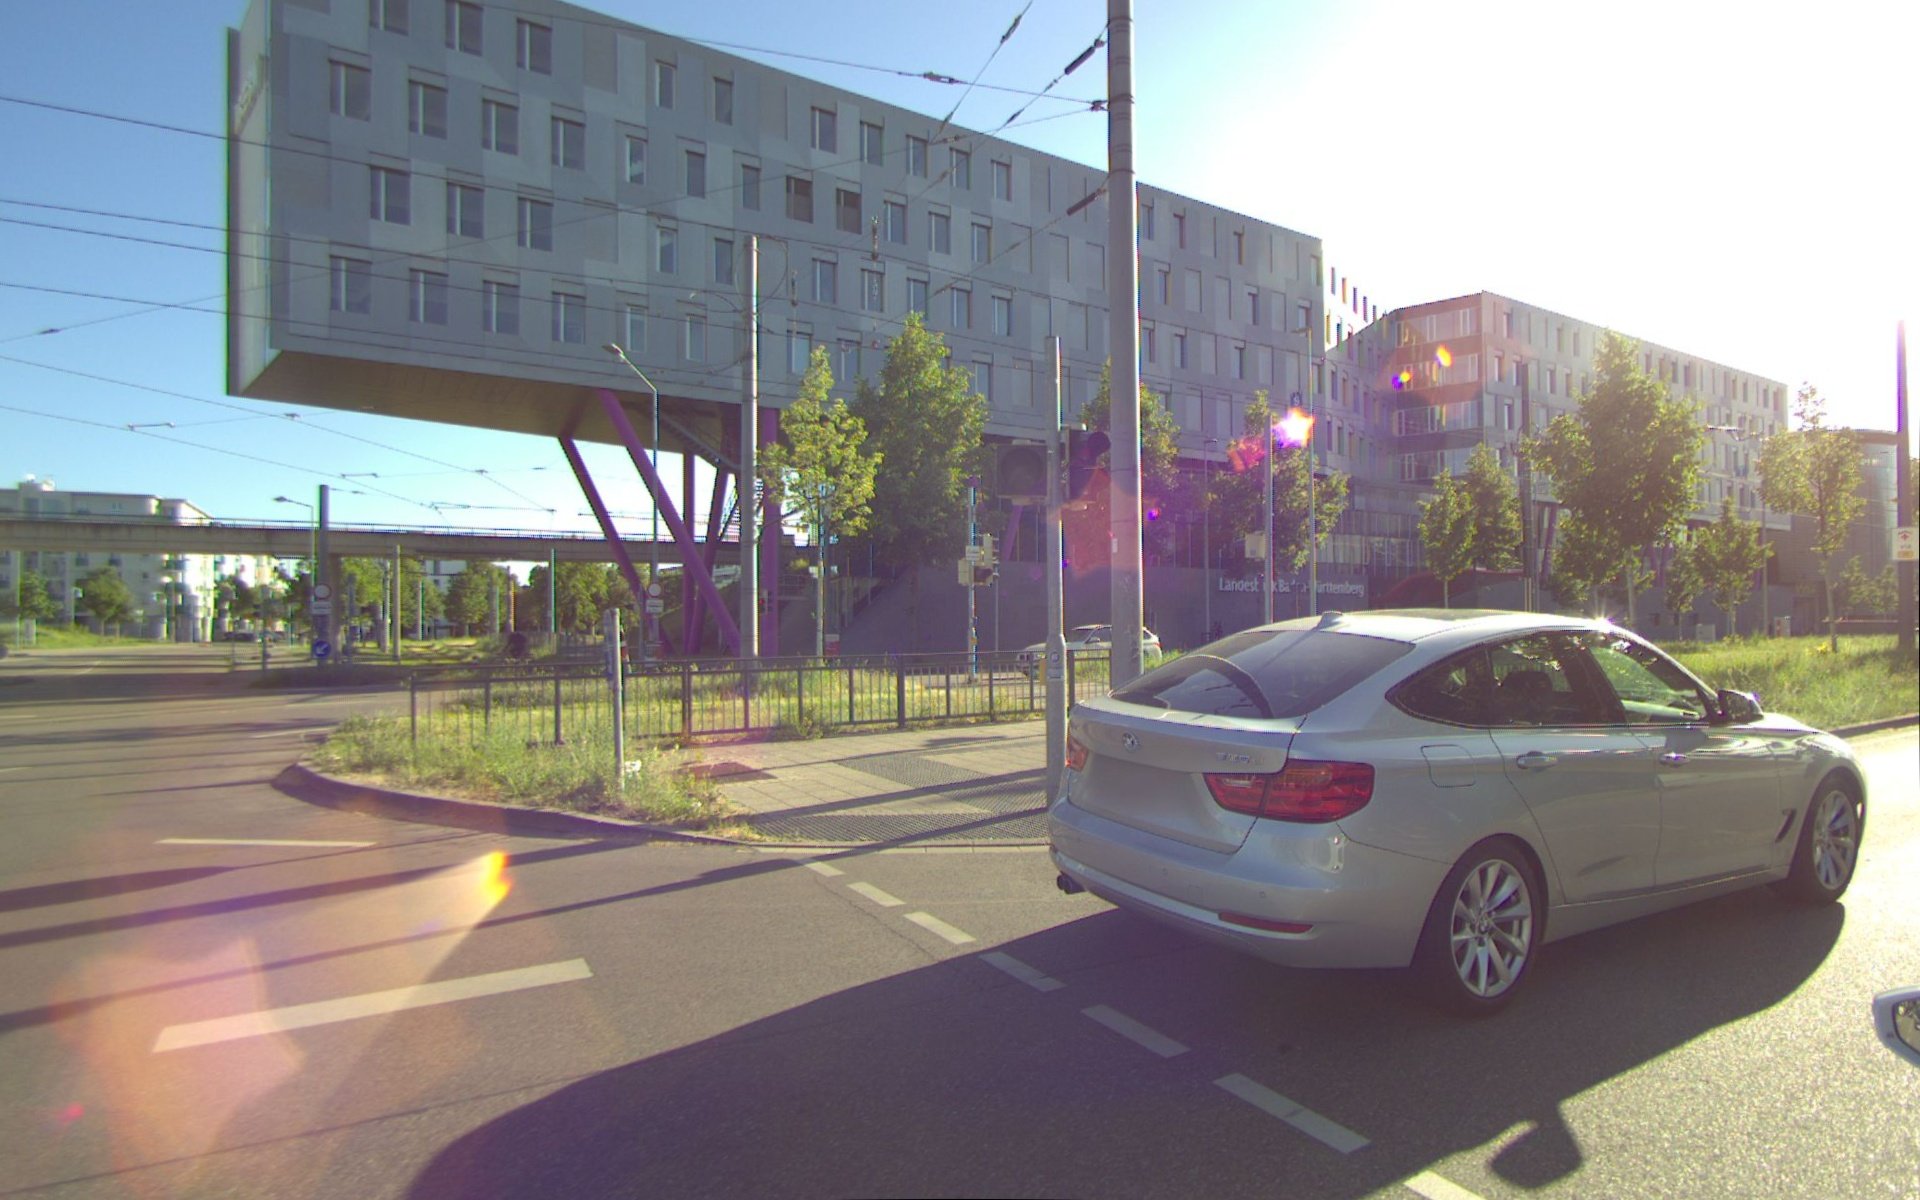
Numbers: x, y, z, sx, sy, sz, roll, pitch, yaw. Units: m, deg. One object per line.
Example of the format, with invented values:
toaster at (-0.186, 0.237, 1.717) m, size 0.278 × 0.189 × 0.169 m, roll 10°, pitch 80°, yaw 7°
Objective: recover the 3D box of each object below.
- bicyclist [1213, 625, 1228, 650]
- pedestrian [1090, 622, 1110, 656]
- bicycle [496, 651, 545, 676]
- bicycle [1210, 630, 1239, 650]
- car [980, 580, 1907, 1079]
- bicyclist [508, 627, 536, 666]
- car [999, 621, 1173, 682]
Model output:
bicyclist at (16.016, 2.275, 61.767) m, size 0.754 × 1.515 × 0.555 m, roll 0°, pitch -1°, yaw -32°
pedestrian at (7.781, 2.141, 55.796) m, size 0.861 × 1.846 × 0.717 m, roll 0°, pitch -1°, yaw -31°
bicycle at (-16.642, 2.395, 38.057) m, size 1.671 × 0.874 × 0.573 m, roll 0°, pitch -1°, yaw -29°
bicycle at (16.205, 2.430, 61.445) m, size 1.953 × 1.188 × 0.517 m, roll 0°, pitch -2°, yaw -32°
car at (2.632, 0.722, 5.089) m, size 4.851 × 1.547 × 1.791 m, roll 0°, pitch 0°, yaw -29°
bicyclist at (-16.609, 1.759, 38.087) m, size 0.947 × 1.454 × 0.568 m, roll 0°, pitch -1°, yaw -29°
car at (3.662, 1.425, 28.855) m, size 4.819 × 1.583 × 1.982 m, roll 0°, pitch -1°, yaw -33°
